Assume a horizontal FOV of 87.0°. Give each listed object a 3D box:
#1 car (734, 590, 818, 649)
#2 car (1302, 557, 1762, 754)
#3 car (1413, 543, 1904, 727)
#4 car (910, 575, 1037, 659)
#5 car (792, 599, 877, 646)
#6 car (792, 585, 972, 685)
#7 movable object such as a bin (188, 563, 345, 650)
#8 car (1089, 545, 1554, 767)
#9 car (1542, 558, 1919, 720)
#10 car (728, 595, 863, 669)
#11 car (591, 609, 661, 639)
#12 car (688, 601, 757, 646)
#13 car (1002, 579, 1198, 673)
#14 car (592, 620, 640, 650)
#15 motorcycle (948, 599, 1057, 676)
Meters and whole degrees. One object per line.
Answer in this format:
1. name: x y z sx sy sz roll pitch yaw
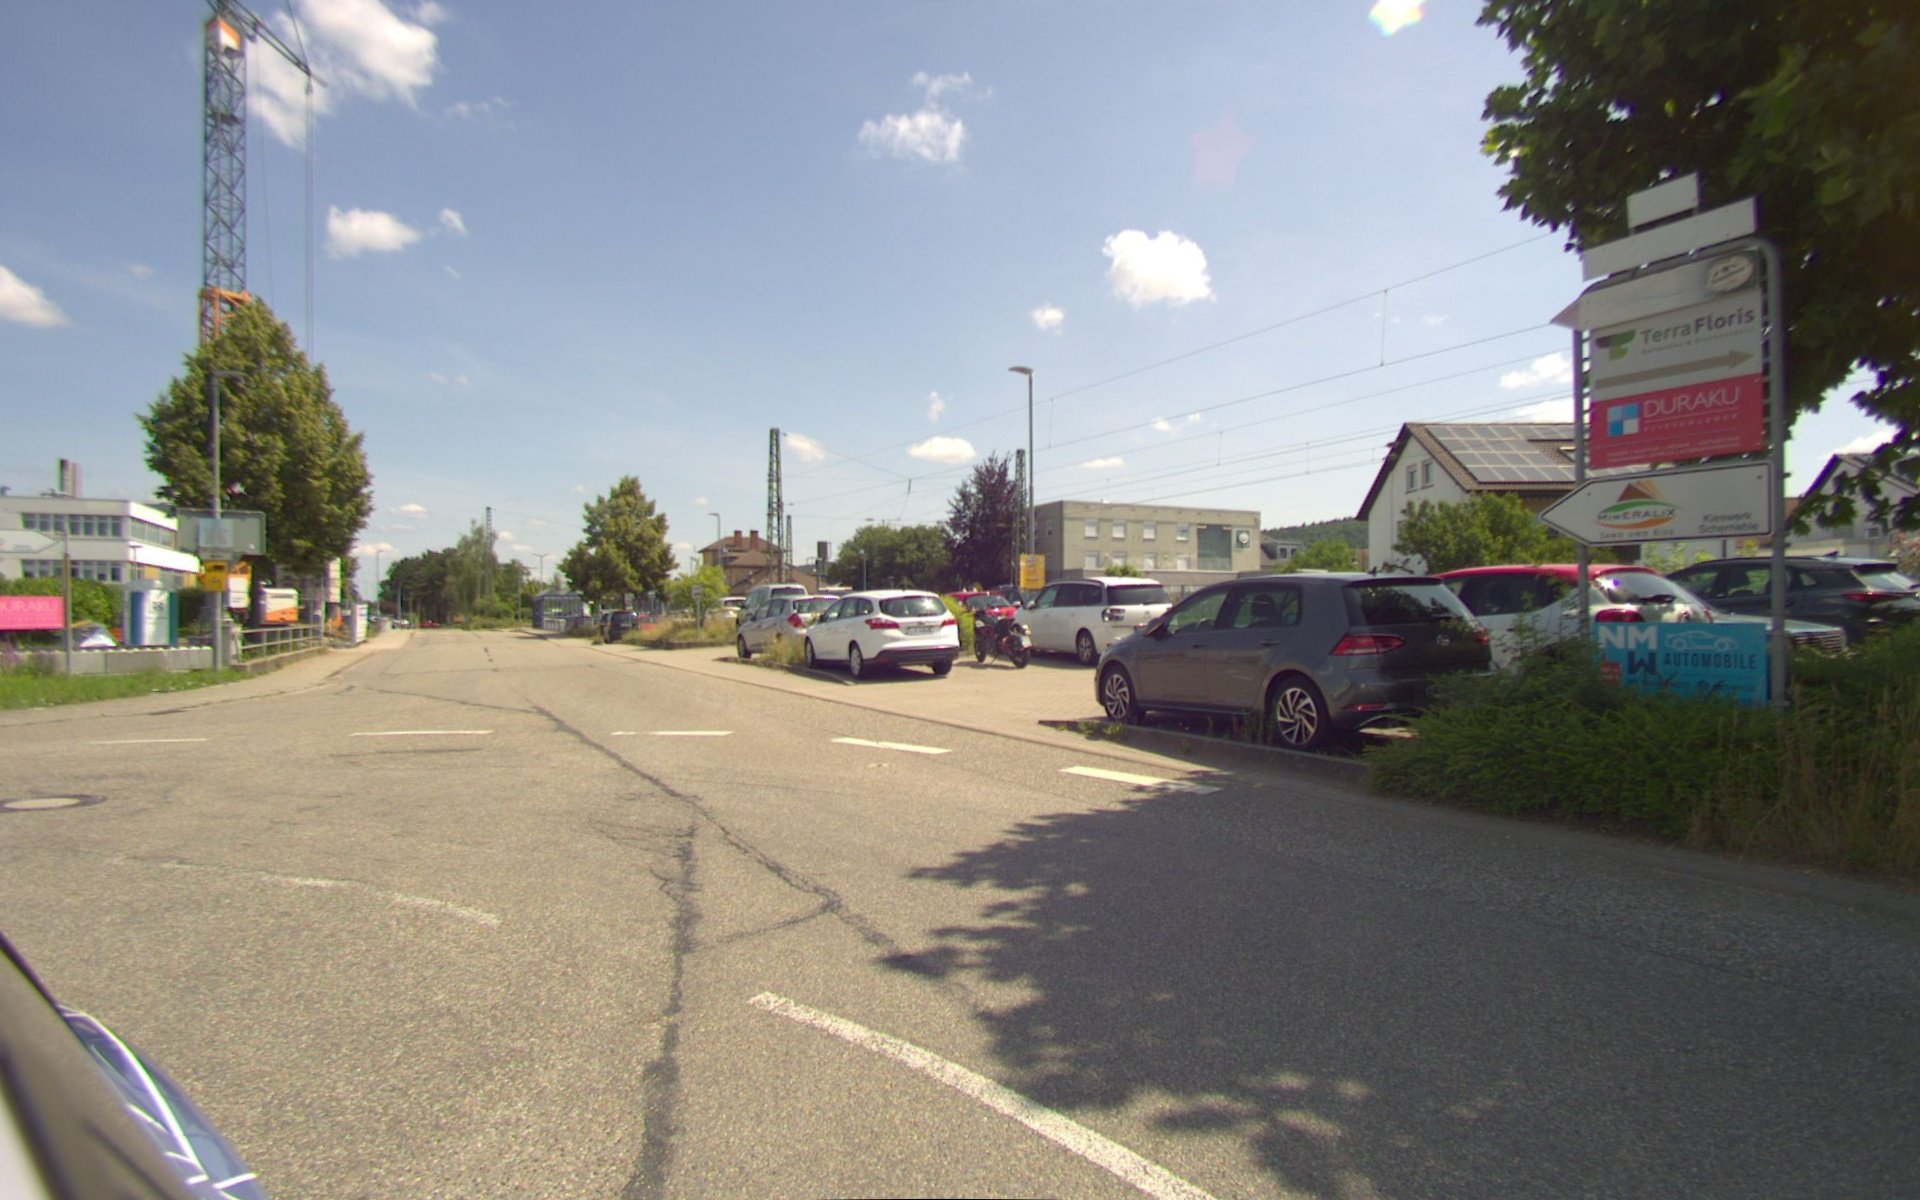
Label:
1. car: -6.206 0.638 33.834 1.921 1.847 3.848 0 -1 -24
2. car: 5.321 0.467 9.951 1.766 1.548 3.590 0 -1 -23
3. car: 7.474 0.350 11.361 1.965 1.650 4.100 0 -1 -23
4. car: 0.258 0.437 26.473 1.819 2.029 4.013 0 -1 -24
5. car: -4.654 0.802 37.002 1.921 1.621 4.286 0 -1 -24
6. car: -1.549 0.586 18.331 1.778 1.576 4.276 0 -1 -26
7. movable object such as a bin: -29.202 0.239 42.723 2.397 3.317 5.055 6 4 44
8. car: 2.926 0.420 9.210 1.661 1.542 4.076 0 -1 -23
9. car: 9.816 0.431 12.578 1.965 1.650 4.100 0 -1 -24
10. car: -3.915 0.713 23.569 1.765 1.556 3.972 0 -1 -31
11. car: -18.853 1.360 57.138 3.381 1.604 1.654 1 1 -35
12. car: -9.475 0.922 40.131 1.703 1.698 4.013 1 -1 -27
13. car: 2.658 0.483 20.355 1.965 1.670 4.276 -1 -1 -23
14. car: -16.565 1.647 48.669 1.581 1.360 4.013 0 -1 -27
15. motorcycle: 0.747 0.697 19.691 0.727 1.383 3.224 0 -1 -25
